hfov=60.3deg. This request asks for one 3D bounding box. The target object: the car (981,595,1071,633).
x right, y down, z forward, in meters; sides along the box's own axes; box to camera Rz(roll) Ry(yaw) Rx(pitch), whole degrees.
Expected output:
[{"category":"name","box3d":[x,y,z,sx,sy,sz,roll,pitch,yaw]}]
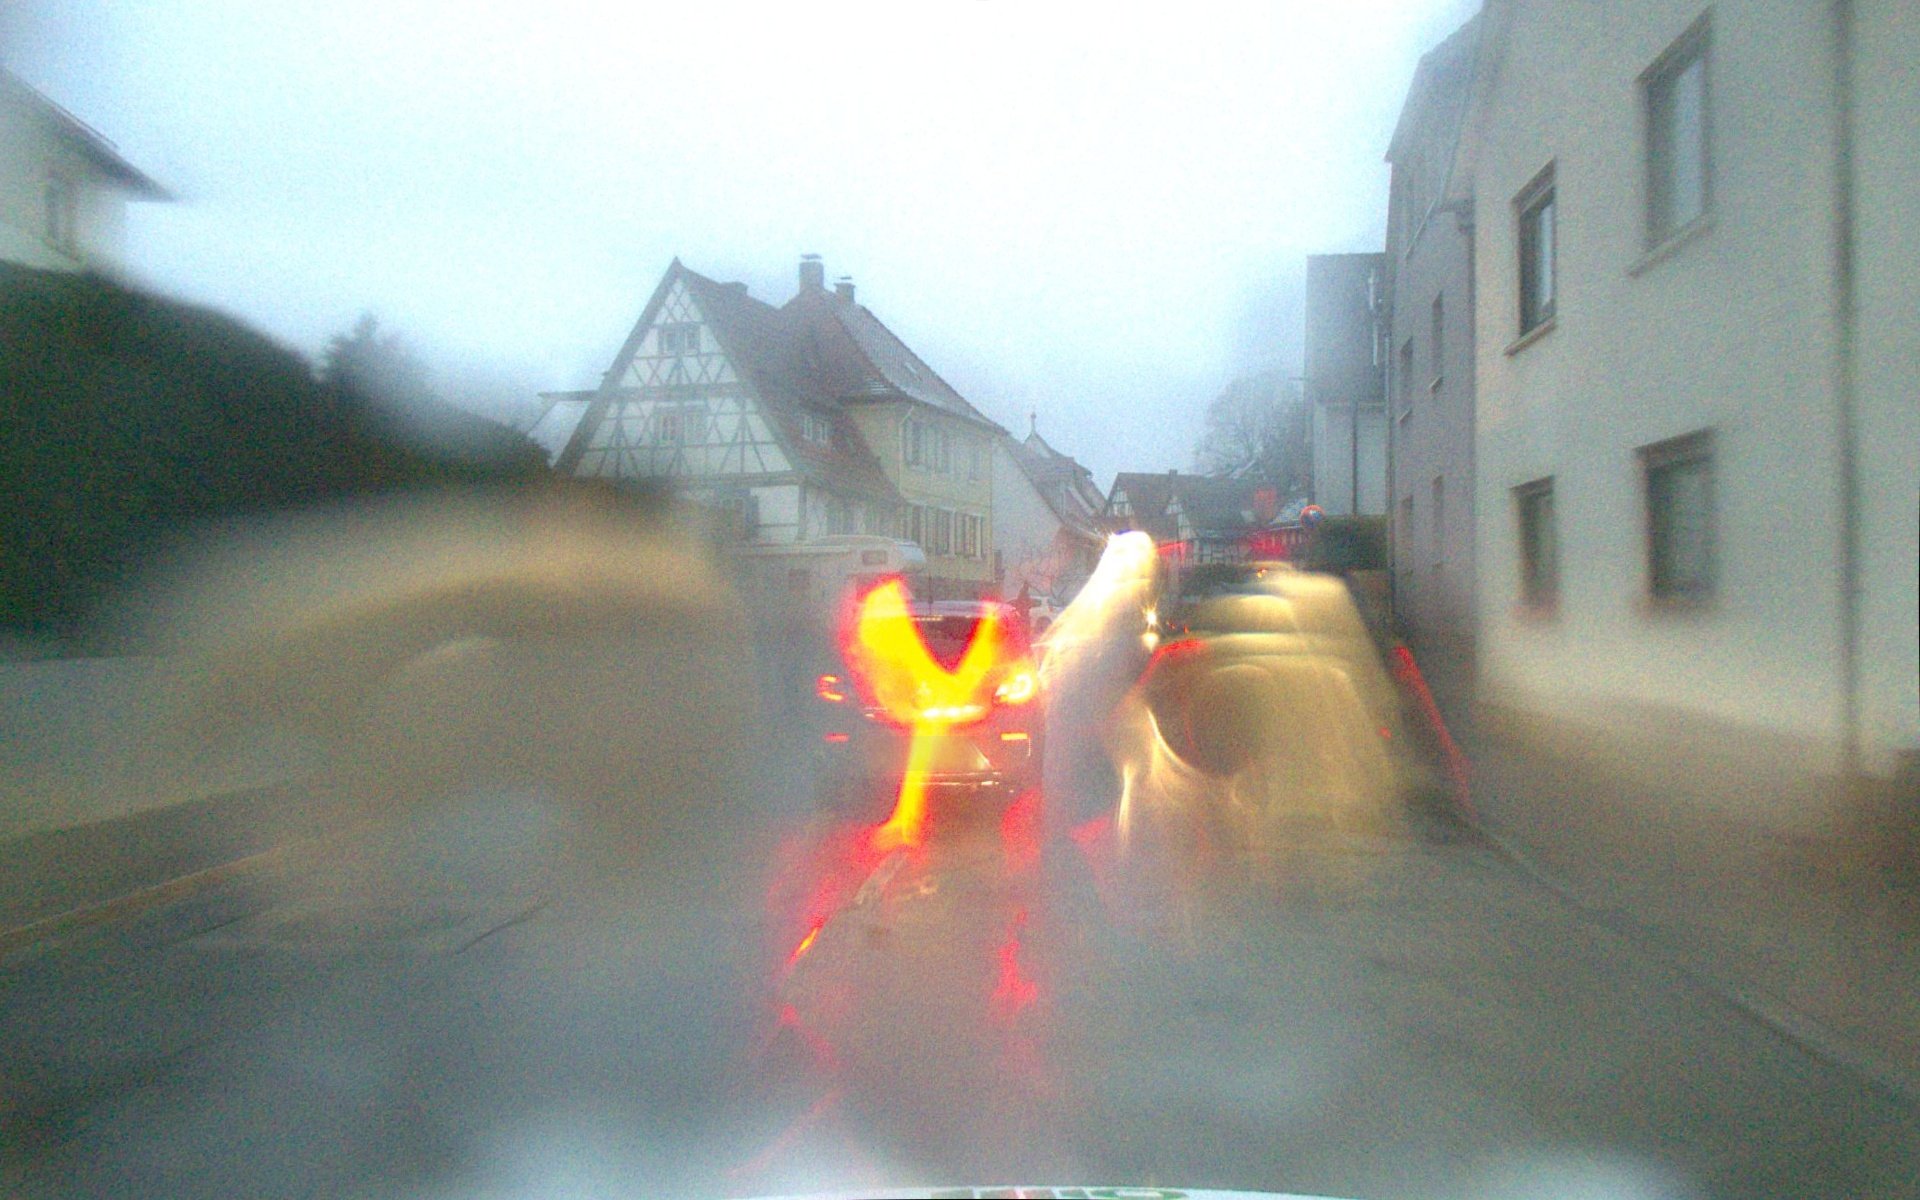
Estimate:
[{"category":"car","box3d":[2.725,0.563,68.228,3.433,1.533,1.693,0,0,15]}]

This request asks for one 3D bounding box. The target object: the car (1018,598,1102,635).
[{"category":"car","box3d":[4.274,0.695,70.561,3.432,1.533,1.694,0,0,9]}]

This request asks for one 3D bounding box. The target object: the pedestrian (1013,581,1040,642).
[{"category":"pedestrian","box3d":[2.237,0.381,55.566,0.855,2.049,0.795,0,0,7]}]

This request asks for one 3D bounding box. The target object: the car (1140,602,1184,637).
[{"category":"car","box3d":[8.727,0.820,71.253,1.828,1.426,4.369,0,0,7]}]

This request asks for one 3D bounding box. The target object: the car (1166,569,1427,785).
[{"category":"car","box3d":[2.928,0.614,15.260,1.809,1.665,4.338,1,0,4]}]

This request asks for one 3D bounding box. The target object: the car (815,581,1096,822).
[{"category":"car","box3d":[-0.044,0.644,12.567,1.759,1.502,3.999,1,0,-1]}]

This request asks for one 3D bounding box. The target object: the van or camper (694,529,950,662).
[{"category":"van or camper","box3d":[-3.465,-0.084,42.034,5.931,3.007,2.408,-3,-1,13]}]

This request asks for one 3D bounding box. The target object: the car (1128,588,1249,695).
[{"category":"car","box3d":[3.652,0.607,26.293,1.760,1.561,4.003,0,0,9]}]

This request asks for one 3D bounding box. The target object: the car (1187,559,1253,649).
[{"category":"car","box3d":[7.448,0.101,47.340,1.775,2.455,3.755,0,0,9]}]
